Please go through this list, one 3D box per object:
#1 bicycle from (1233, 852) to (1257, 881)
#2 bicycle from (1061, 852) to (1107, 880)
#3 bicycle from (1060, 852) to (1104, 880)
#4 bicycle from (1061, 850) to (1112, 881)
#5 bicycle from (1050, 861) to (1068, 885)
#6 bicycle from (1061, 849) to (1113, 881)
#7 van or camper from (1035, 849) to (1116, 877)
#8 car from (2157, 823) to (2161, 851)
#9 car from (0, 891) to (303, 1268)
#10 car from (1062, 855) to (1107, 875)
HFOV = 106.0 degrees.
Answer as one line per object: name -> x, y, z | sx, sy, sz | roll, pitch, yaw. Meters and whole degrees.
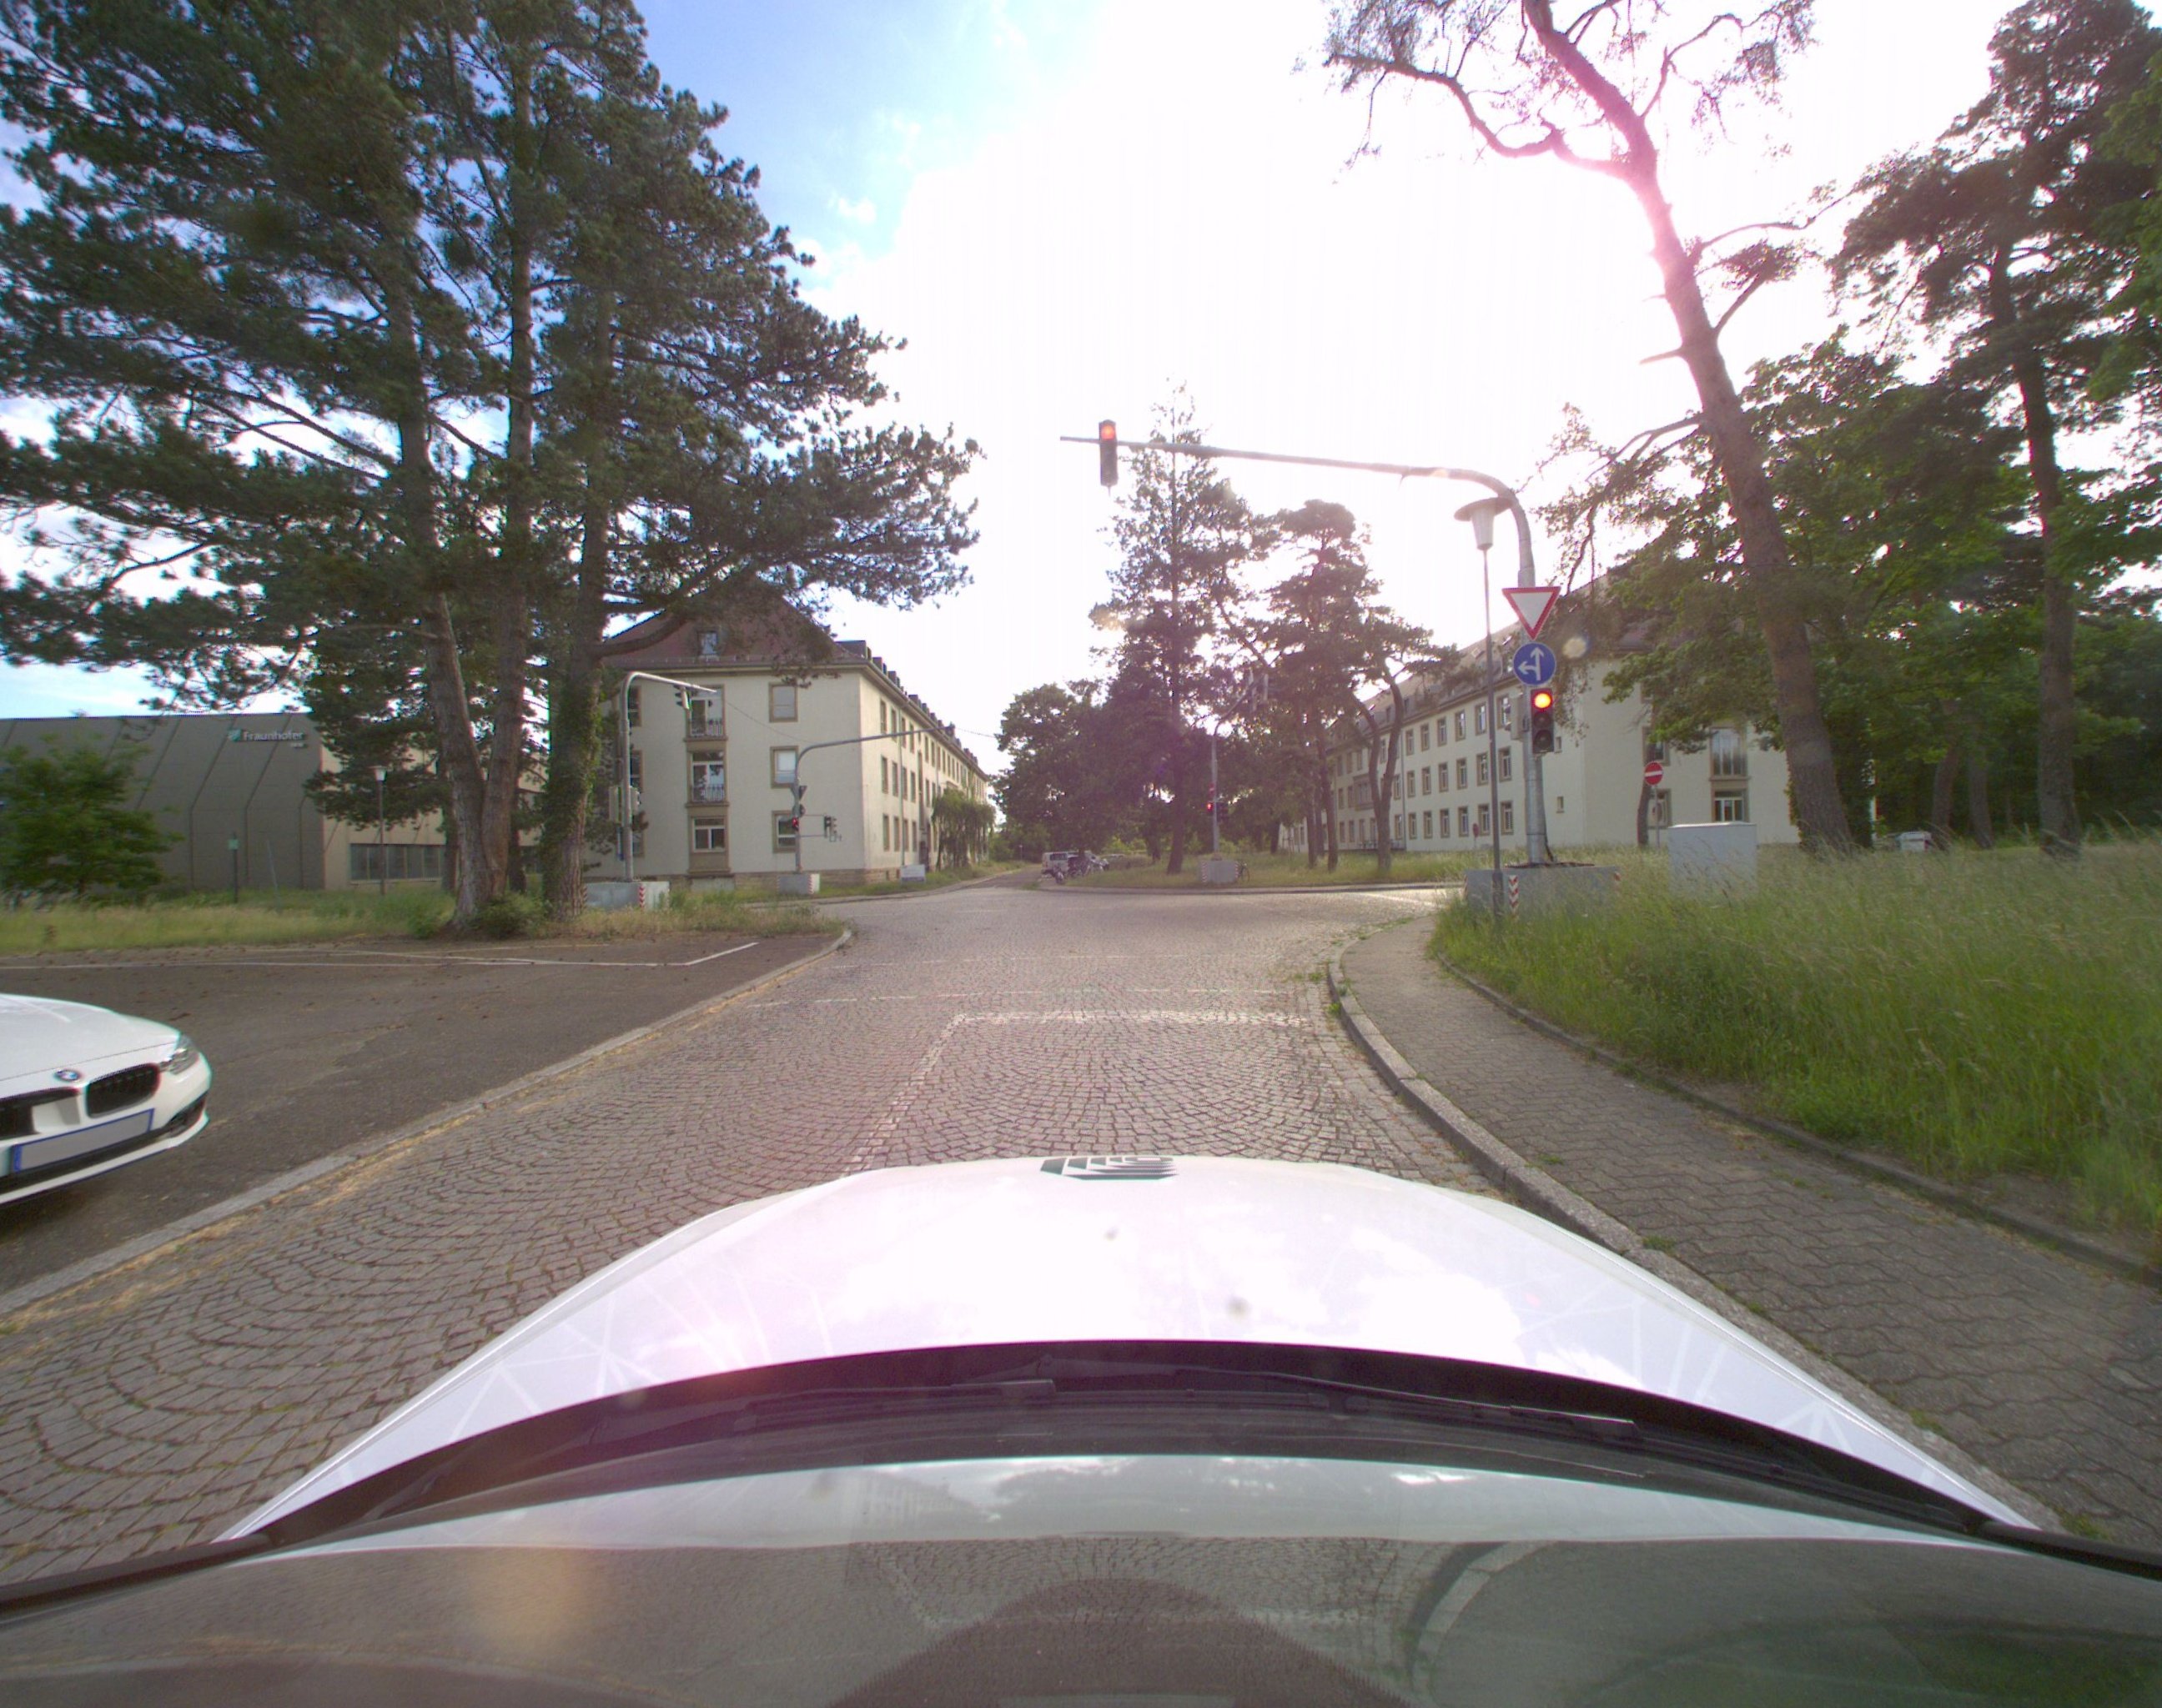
bicycle -> 6.819, 0.509, 34.024 | 0.720, 1.169, 2.741 | 0, 0, 6
bicycle -> 0.187, 0.765, 50.411 | 2.764, 1.694, 1.121 | 0, -1, 3
bicycle -> 0.085, 0.757, 51.746 | 2.766, 1.694, 1.120 | 0, -1, 0
bicycle -> 0.287, 0.657, 46.849 | 2.774, 1.694, 1.117 | -2, 0, -9
bicycle -> -1.095, 0.952, 41.339 | 0.723, 1.107, 2.462 | -6, 0, 0
bicycle -> 0.328, 0.626, 45.656 | 2.773, 1.694, 1.117 | -2, 0, -7
van or camper -> -0.451, 0.708, 63.604 | 6.042, 1.949, 1.990 | -2, 0, -15
car -> 56.481, -0.832, 40.489 | 3.975, 1.398, 1.562 | 0, 0, -1
car -> -6.593, 0.917, 3.515 | 4.470, 1.442, 1.827 | 1, 0, -5
car -> 0.228, 0.798, 60.044 | 3.134, 1.354, 1.616 | -2, 0, -7
